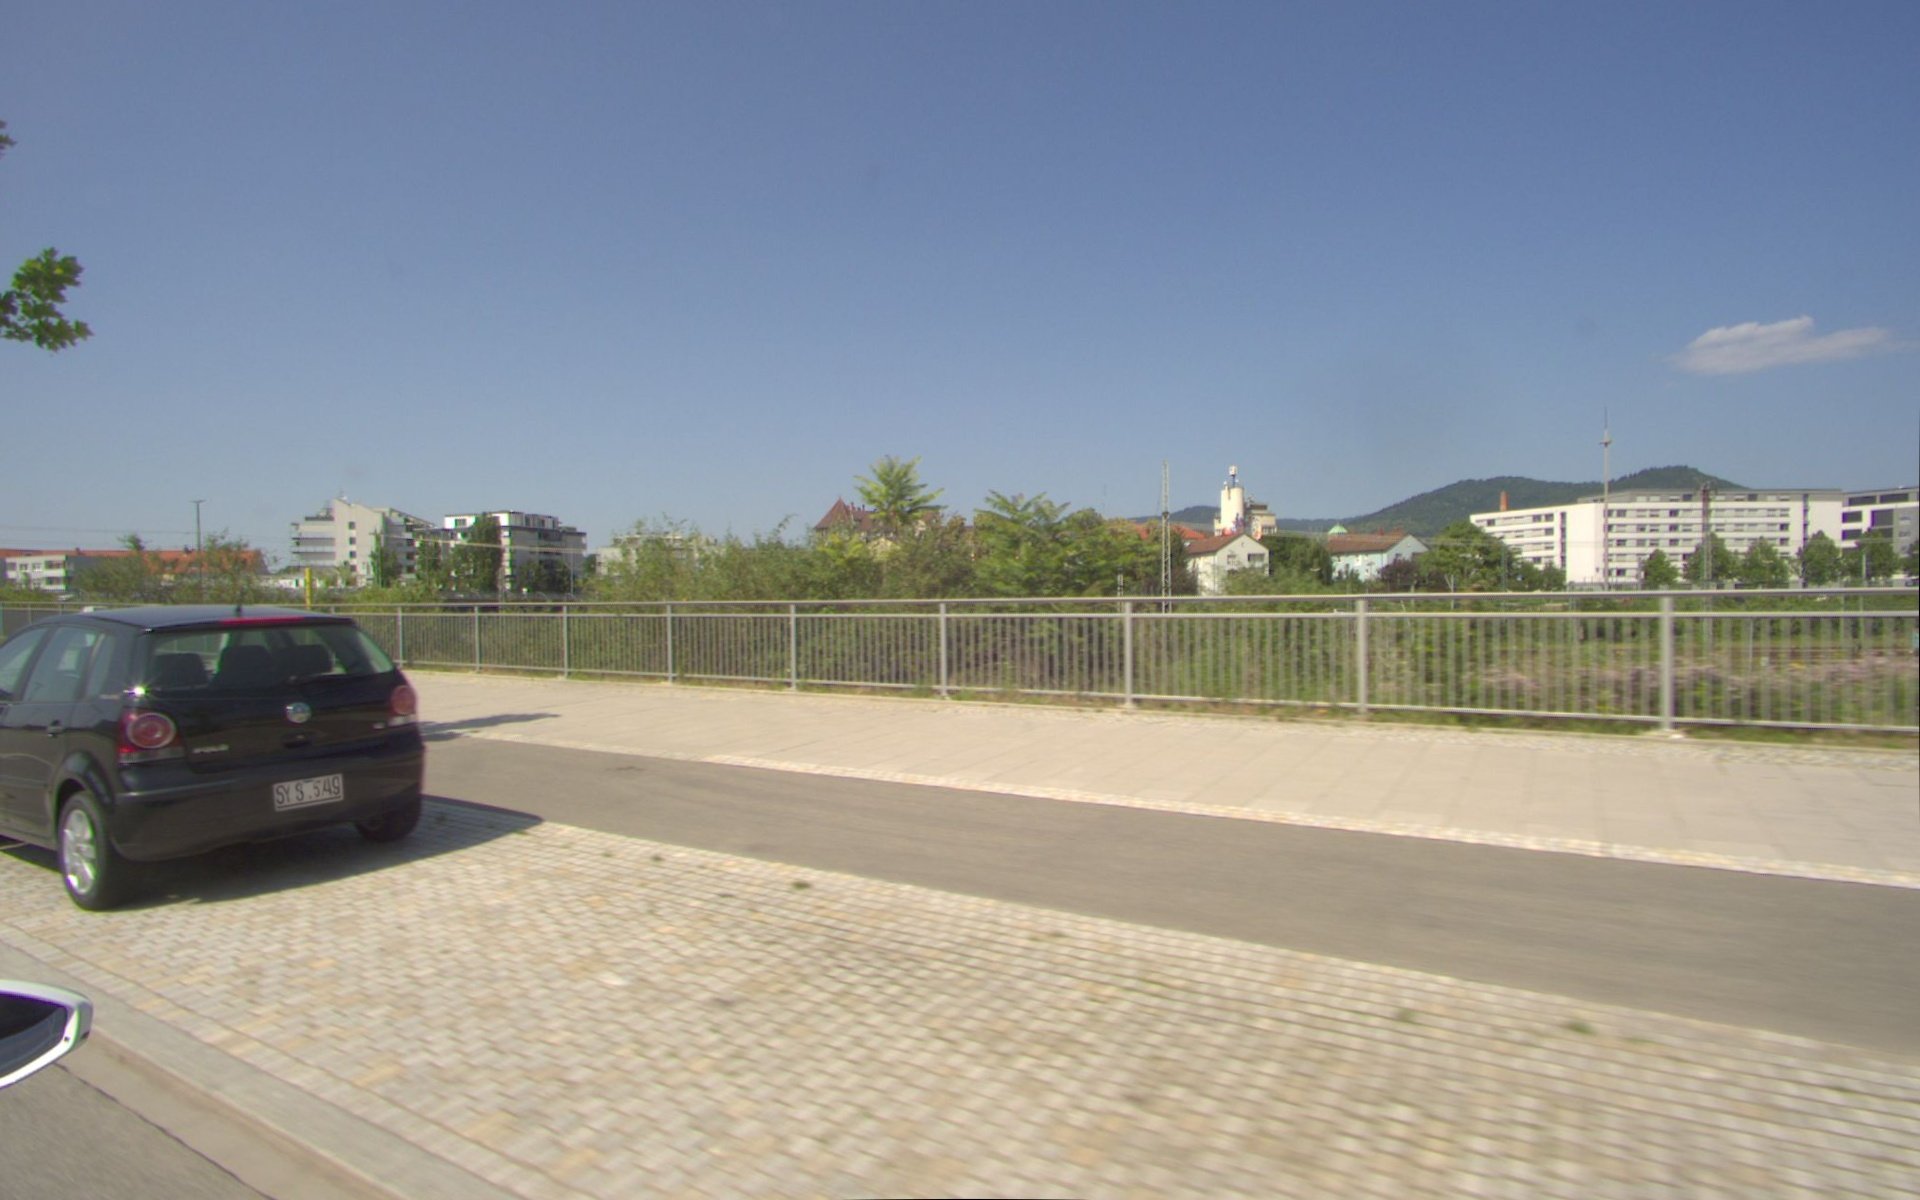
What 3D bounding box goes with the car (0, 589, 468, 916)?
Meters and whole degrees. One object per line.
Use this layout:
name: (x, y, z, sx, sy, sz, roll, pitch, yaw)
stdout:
car: (-5.124, 0.756, 6.334, 3.896, 1.482, 1.701, -2, 1, 30)
